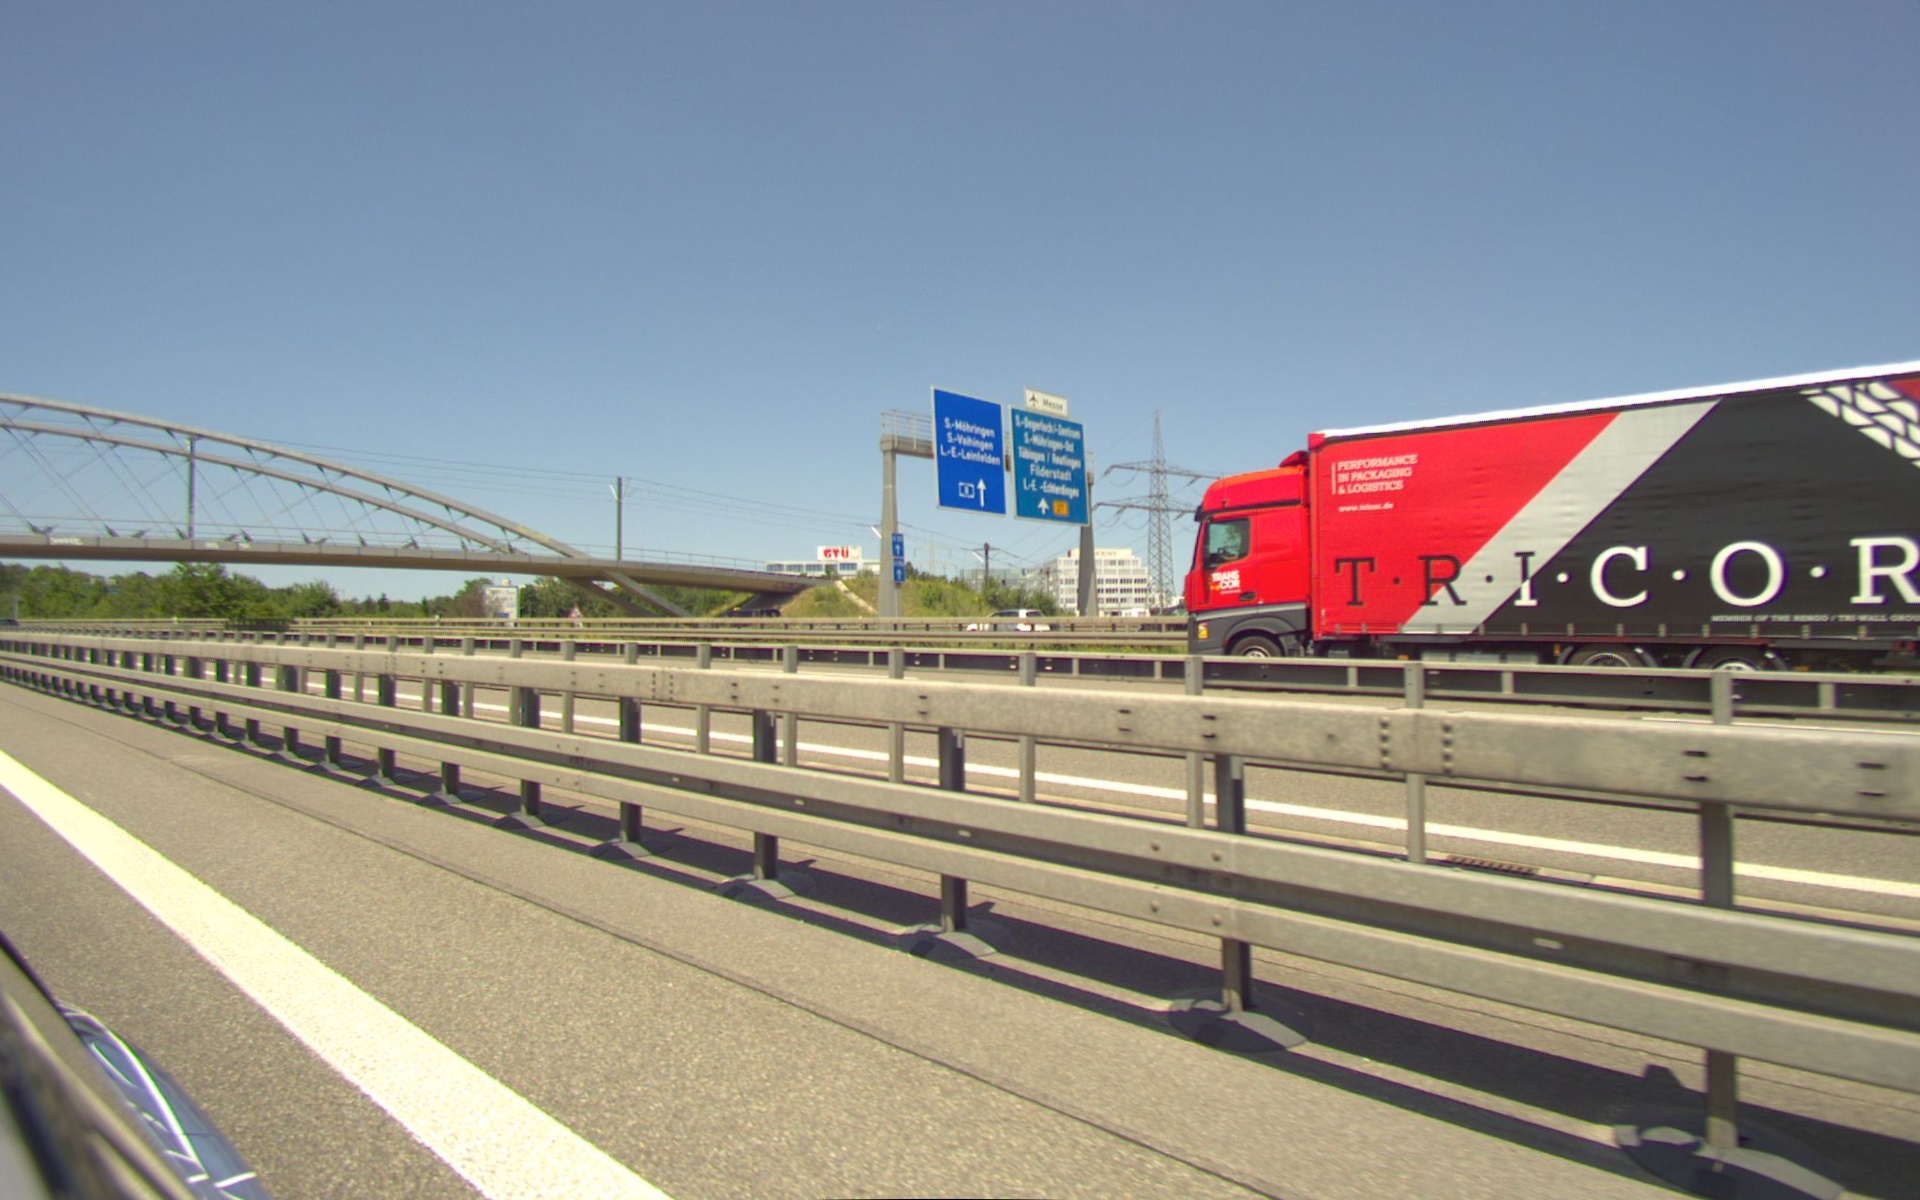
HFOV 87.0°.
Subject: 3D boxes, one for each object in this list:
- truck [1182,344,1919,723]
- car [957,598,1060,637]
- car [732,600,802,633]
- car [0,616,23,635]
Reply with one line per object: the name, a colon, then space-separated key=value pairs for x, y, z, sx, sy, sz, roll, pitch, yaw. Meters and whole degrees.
truck: x=8.473 y=-0.674 z=14.626 sx=10.344 sy=4.146 sz=2.555 roll=-1 pitch=-1 yaw=42
car: x=2.106 y=0.755 z=44.868 sx=4.389 sy=1.630 sz=1.849 roll=-1 pitch=0 yaw=43
car: x=-10.827 y=0.938 z=56.782 sx=4.000 sy=1.757 sz=1.849 roll=-1 pitch=0 yaw=43
car: x=-77.849 y=2.029 z=82.518 sx=4.442 sy=1.475 sz=1.641 roll=-1 pitch=1 yaw=41
